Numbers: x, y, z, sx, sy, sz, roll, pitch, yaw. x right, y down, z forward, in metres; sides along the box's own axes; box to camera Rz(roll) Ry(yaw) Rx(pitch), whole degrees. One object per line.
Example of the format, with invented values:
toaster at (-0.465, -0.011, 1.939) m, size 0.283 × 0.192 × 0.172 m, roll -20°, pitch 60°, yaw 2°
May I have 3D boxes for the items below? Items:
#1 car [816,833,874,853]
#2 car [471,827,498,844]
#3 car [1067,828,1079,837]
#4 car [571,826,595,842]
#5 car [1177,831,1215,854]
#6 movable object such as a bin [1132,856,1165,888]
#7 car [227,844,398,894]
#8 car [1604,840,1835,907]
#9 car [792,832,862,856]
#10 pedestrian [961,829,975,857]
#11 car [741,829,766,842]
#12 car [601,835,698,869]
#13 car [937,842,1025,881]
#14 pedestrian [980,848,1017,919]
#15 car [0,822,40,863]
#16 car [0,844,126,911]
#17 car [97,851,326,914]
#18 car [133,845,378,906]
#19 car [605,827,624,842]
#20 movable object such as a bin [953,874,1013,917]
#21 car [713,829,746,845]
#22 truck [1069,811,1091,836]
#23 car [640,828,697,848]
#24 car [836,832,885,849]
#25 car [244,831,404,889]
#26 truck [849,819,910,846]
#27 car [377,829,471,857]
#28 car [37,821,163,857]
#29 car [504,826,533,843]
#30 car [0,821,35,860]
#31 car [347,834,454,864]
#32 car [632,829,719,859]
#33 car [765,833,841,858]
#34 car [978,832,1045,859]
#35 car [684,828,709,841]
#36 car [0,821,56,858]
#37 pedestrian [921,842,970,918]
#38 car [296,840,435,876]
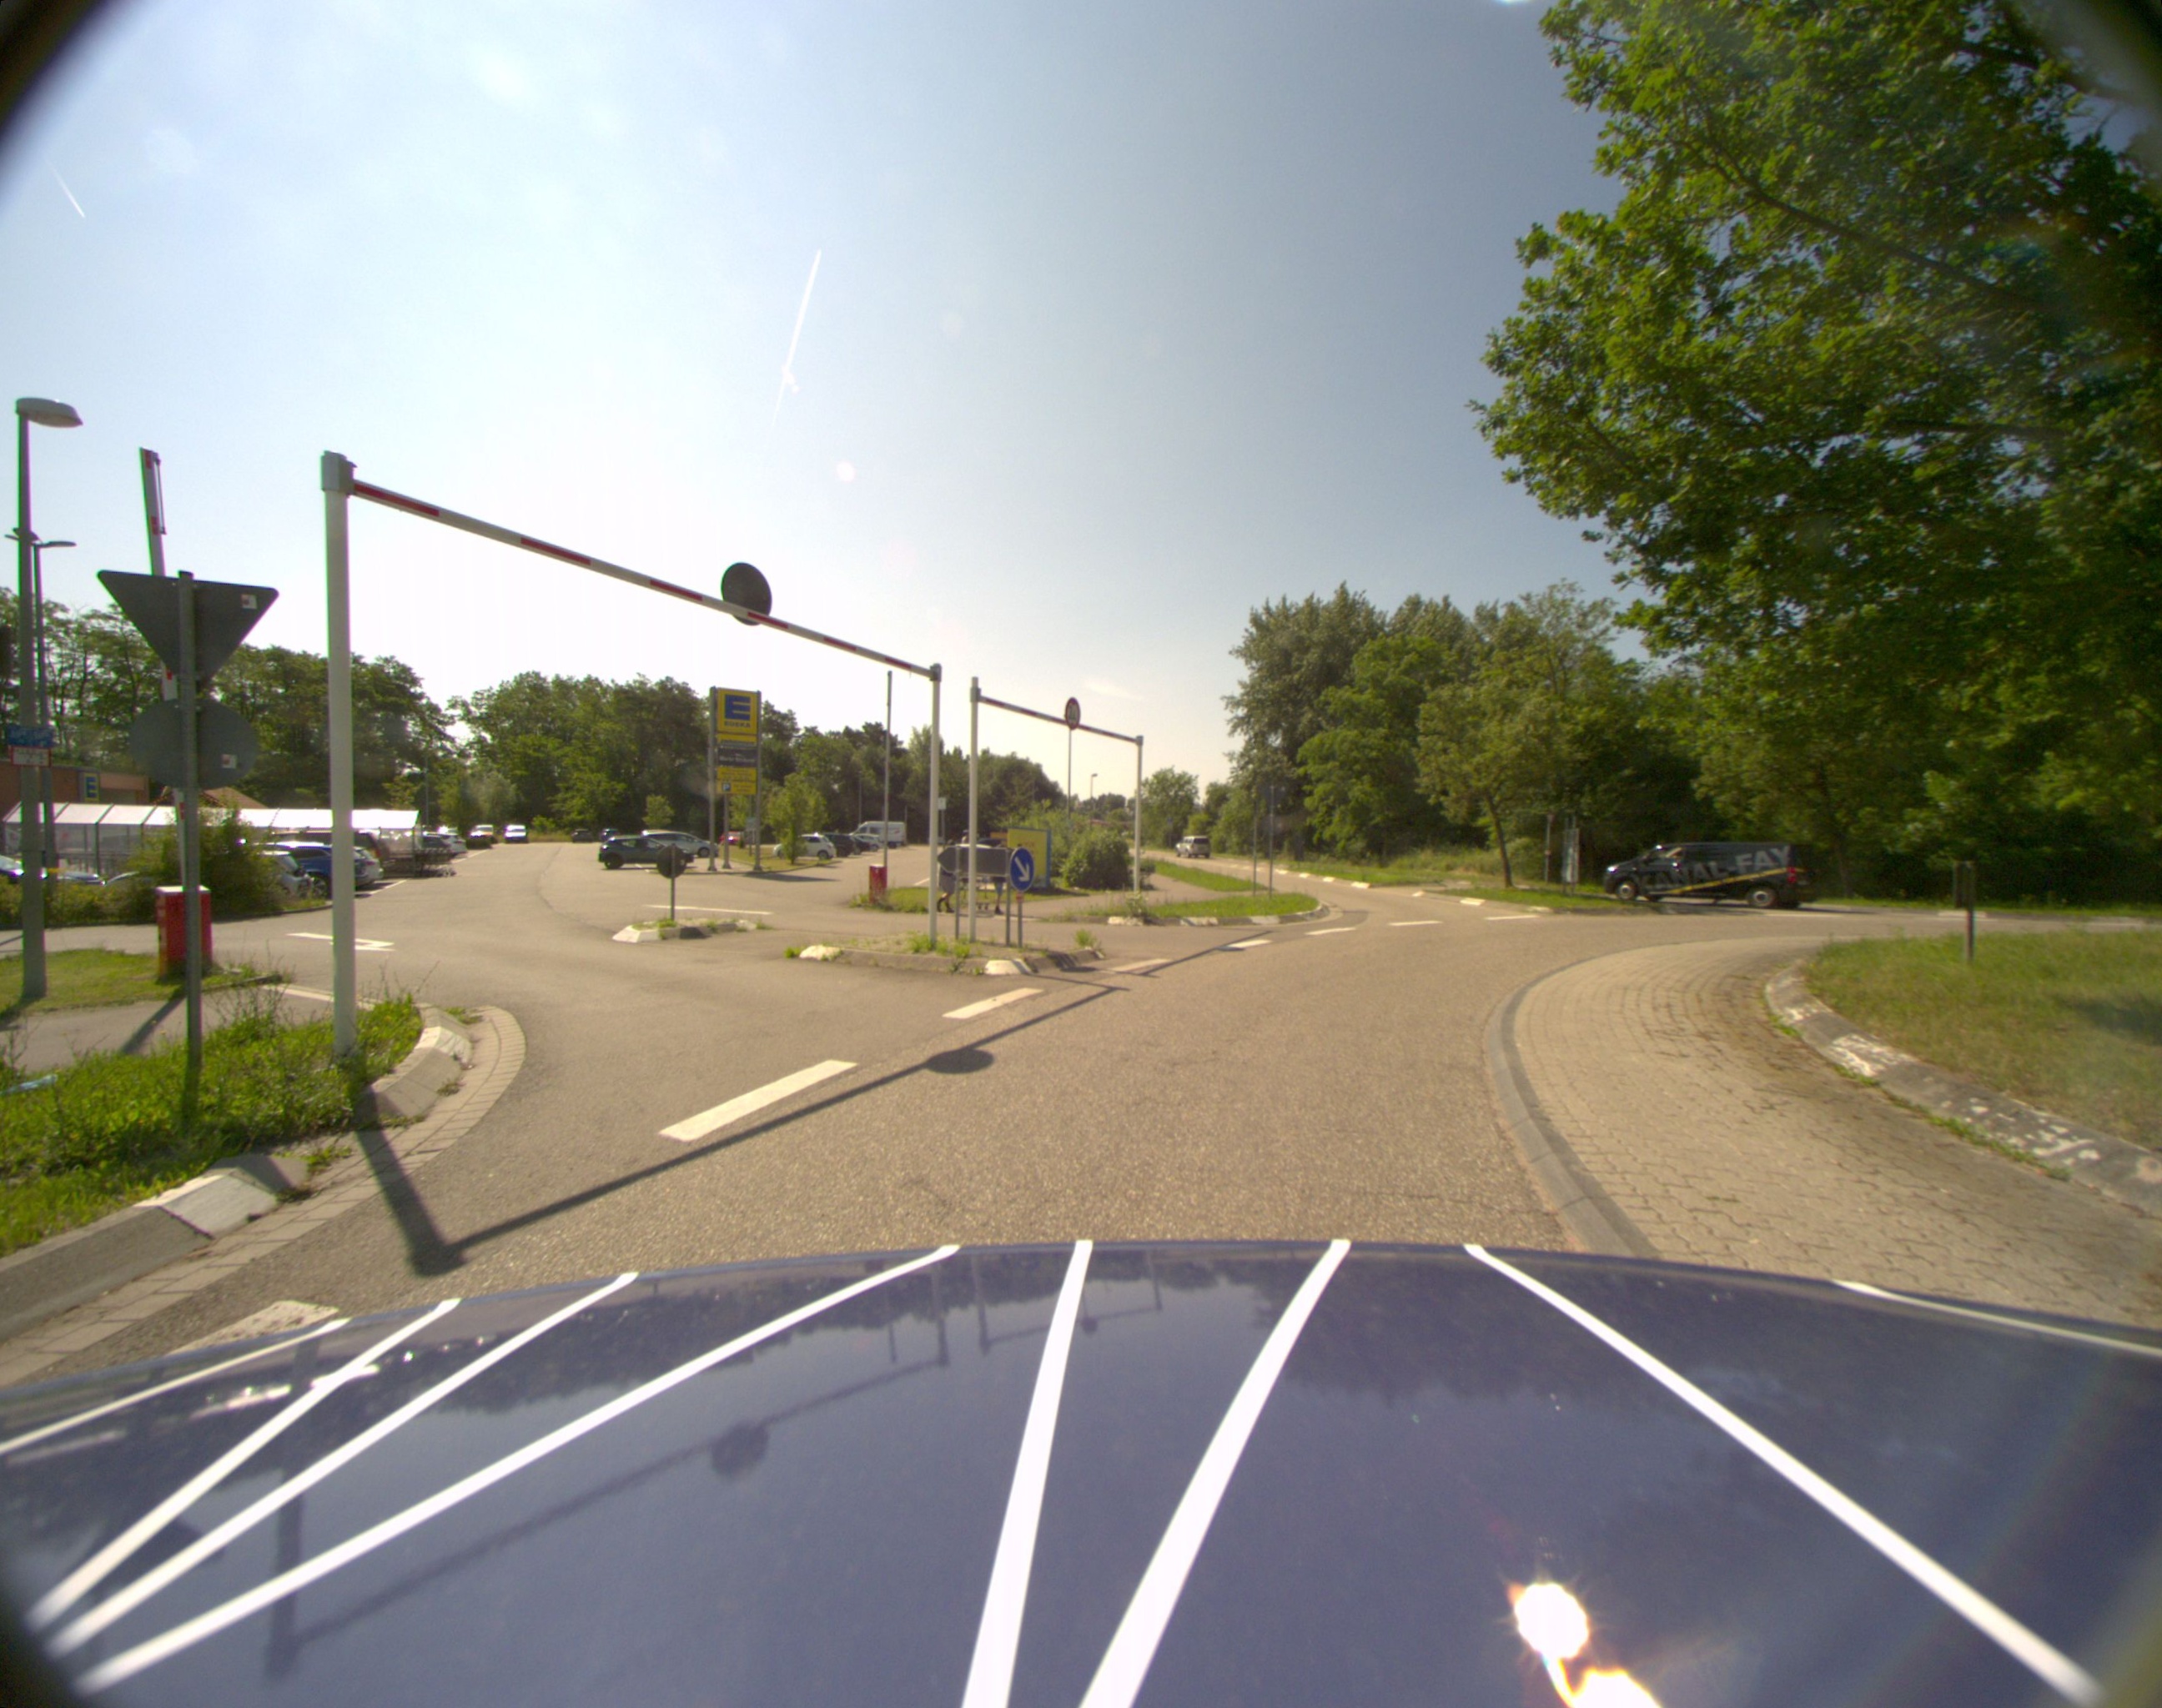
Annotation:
car at (-17.431, -0.818, 56.270) m, size 4.002 × 1.419 × 1.746 m, roll 0°, pitch 2°, yaw -14°
car at (-58.321, -1.845, 74.374) m, size 1.799 × 1.587 × 4.248 m, roll -1°, pitch 2°, yaw -34°
car at (-1.454, -3.923, 140.465) m, size 1.827 × 1.598 × 3.526 m, roll 1°, pitch 2°, yaw -8°
car at (-51.959, -2.091, 79.316) m, size 2.075 × 1.701 × 3.989 m, roll -1°, pitch 2°, yaw -33°
car at (9.398, -0.988, 62.414) m, size 1.899 × 1.806 × 4.591 m, roll 0°, pitch 2°, yaw -7°
movable object such as a bin at (2.609, 0.675, 29.255) m, size 0.868 × 1.114 × 1.457 m, roll 1°, pitch 2°, yaw 21°
car at (-24.810, 0.444, 24.704) m, size 3.497 × 1.489 × 1.712 m, roll -1°, pitch 2°, yaw -27°
car at (18.506, 0.458, 22.292) m, size 2.105 × 1.705 × 4.705 m, roll -1°, pitch 2°, yaw -31°
car at (-17.013, -0.716, 51.120) m, size 4.167 × 1.565 × 1.998 m, roll 0°, pitch 2°, yaw -10°
pedestrian at (-7.142, -0.706, 47.990) m, size 0.821 × 1.787 × 0.865 m, roll 0°, pitch 2°, yaw -7°
car at (-38.221, -2.212, 88.708) m, size 2.075 × 1.478 × 3.989 m, roll -1°, pitch 2°, yaw -33°
car at (-20.960, -0.114, 37.098) m, size 4.005 × 1.580 × 1.657 m, roll -1°, pitch 2°, yaw -26°
car at (-4.324, 0.303, 32.705) m, size 3.607 × 1.553 × 1.811 m, roll 1°, pitch 2°, yaw -11°
pedestrian at (-1.963, 0.680, 18.019) m, size 0.597 × 1.639 × 0.701 m, roll -1°, pitch 3°, yaw -37°
car at (-49.364, -0.503, 33.266) m, size 4.008 × 1.806 × 1.994 m, roll -1°, pitch 2°, yaw -38°
car at (-27.639, 0.587, 19.128) m, size 4.007 × 1.613 × 1.907 m, roll -1°, pitch 2°, yaw -32°
car at (-22.394, 0.671, 19.774) m, size 3.497 × 1.450 × 1.712 m, roll -1°, pitch 2°, yaw -26°
car at (-23.536, 0.539, 21.936) m, size 4.435 × 1.562 × 1.712 m, roll -1°, pitch 2°, yaw -30°
car at (-49.747, -2.082, 80.963) m, size 1.665 × 1.478 × 4.360 m, roll -1°, pitch 2°, yaw -33°
movable object such as a bin at (-2.435, 1.022, 18.930) m, size 1.206 × 0.950 × 0.878 m, roll -1°, pitch 2°, yaw -36°
car at (-34.584, -1.708, 74.718) m, size 2.004 × 1.457 × 4.481 m, roll -1°, pitch 3°, yaw -37°
truck at (-0.180, -4.820, 120.415) m, size 2.722 × 3.893 × 5.945 m, roll 1°, pitch 2°, yaw -6°
car at (-33.501, -1.307, 61.706) m, size 4.006 × 1.576 × 1.965 m, roll -1°, pitch 2°, yaw -29°
car at (-18.664, -1.134, 64.404) m, size 3.977 × 1.445 × 1.901 m, roll 0°, pitch 2°, yaw -17°
car at (-26.377, 0.154, 26.646) m, size 3.497 × 1.918 × 1.874 m, roll -1°, pitch 2°, yaw -27°
truck at (-19.823, -2.126, 74.994) m, size 5.617 × 2.591 × 2.201 m, roll 1°, pitch 2°, yaw -8°
car at (-40.385, -0.677, 46.850) m, size 4.006 × 1.652 × 1.995 m, roll -1°, pitch 2°, yaw -28°
car at (-57.164, -0.893, 44.382) m, size 4.007 × 2.002 × 1.994 m, roll -1°, pitch 3°, yaw -33°
car at (-56.066, -1.950, 75.784) m, size 2.075 × 1.701 × 3.989 m, roll -1°, pitch 2°, yaw -33°
car at (-52.830, -0.648, 35.604) m, size 4.008 × 1.806 × 1.994 m, roll -1°, pitch 2°, yaw -38°
car at (-35.924, -0.292, 40.263) m, size 4.007 × 1.478 × 1.963 m, roll -1°, pitch 2°, yaw -35°
car at (-25.389, -0.658, 47.616) m, size 4.567 × 1.693 × 1.994 m, roll -3°, pitch 4°, yaw -33°
car at (-16.662, -0.517, 45.660) m, size 4.000 × 1.434 × 1.649 m, roll 0°, pitch 2°, yaw -7°
car at (-4.449, -0.538, 48.462) m, size 4.132 × 1.618 × 1.750 m, roll 0°, pitch 2°, yaw -7°
car at (-43.411, -2.207, 85.736) m, size 2.075 × 1.478 × 3.989 m, roll -1°, pitch 2°, yaw -33°
car at (-54.451, -0.715, 37.590) m, size 4.008 × 1.806 × 1.994 m, roll -1°, pitch 2°, yaw -38°
pedestrian at (-3.265, 0.601, 18.301) m, size 0.844 × 1.775 × 0.878 m, roll -1°, pitch 3°, yaw -36°
car at (-30.333, 0.131, 32.408) m, size 4.007 × 1.412 × 1.977 m, roll -1°, pitch 2°, yaw -34°
